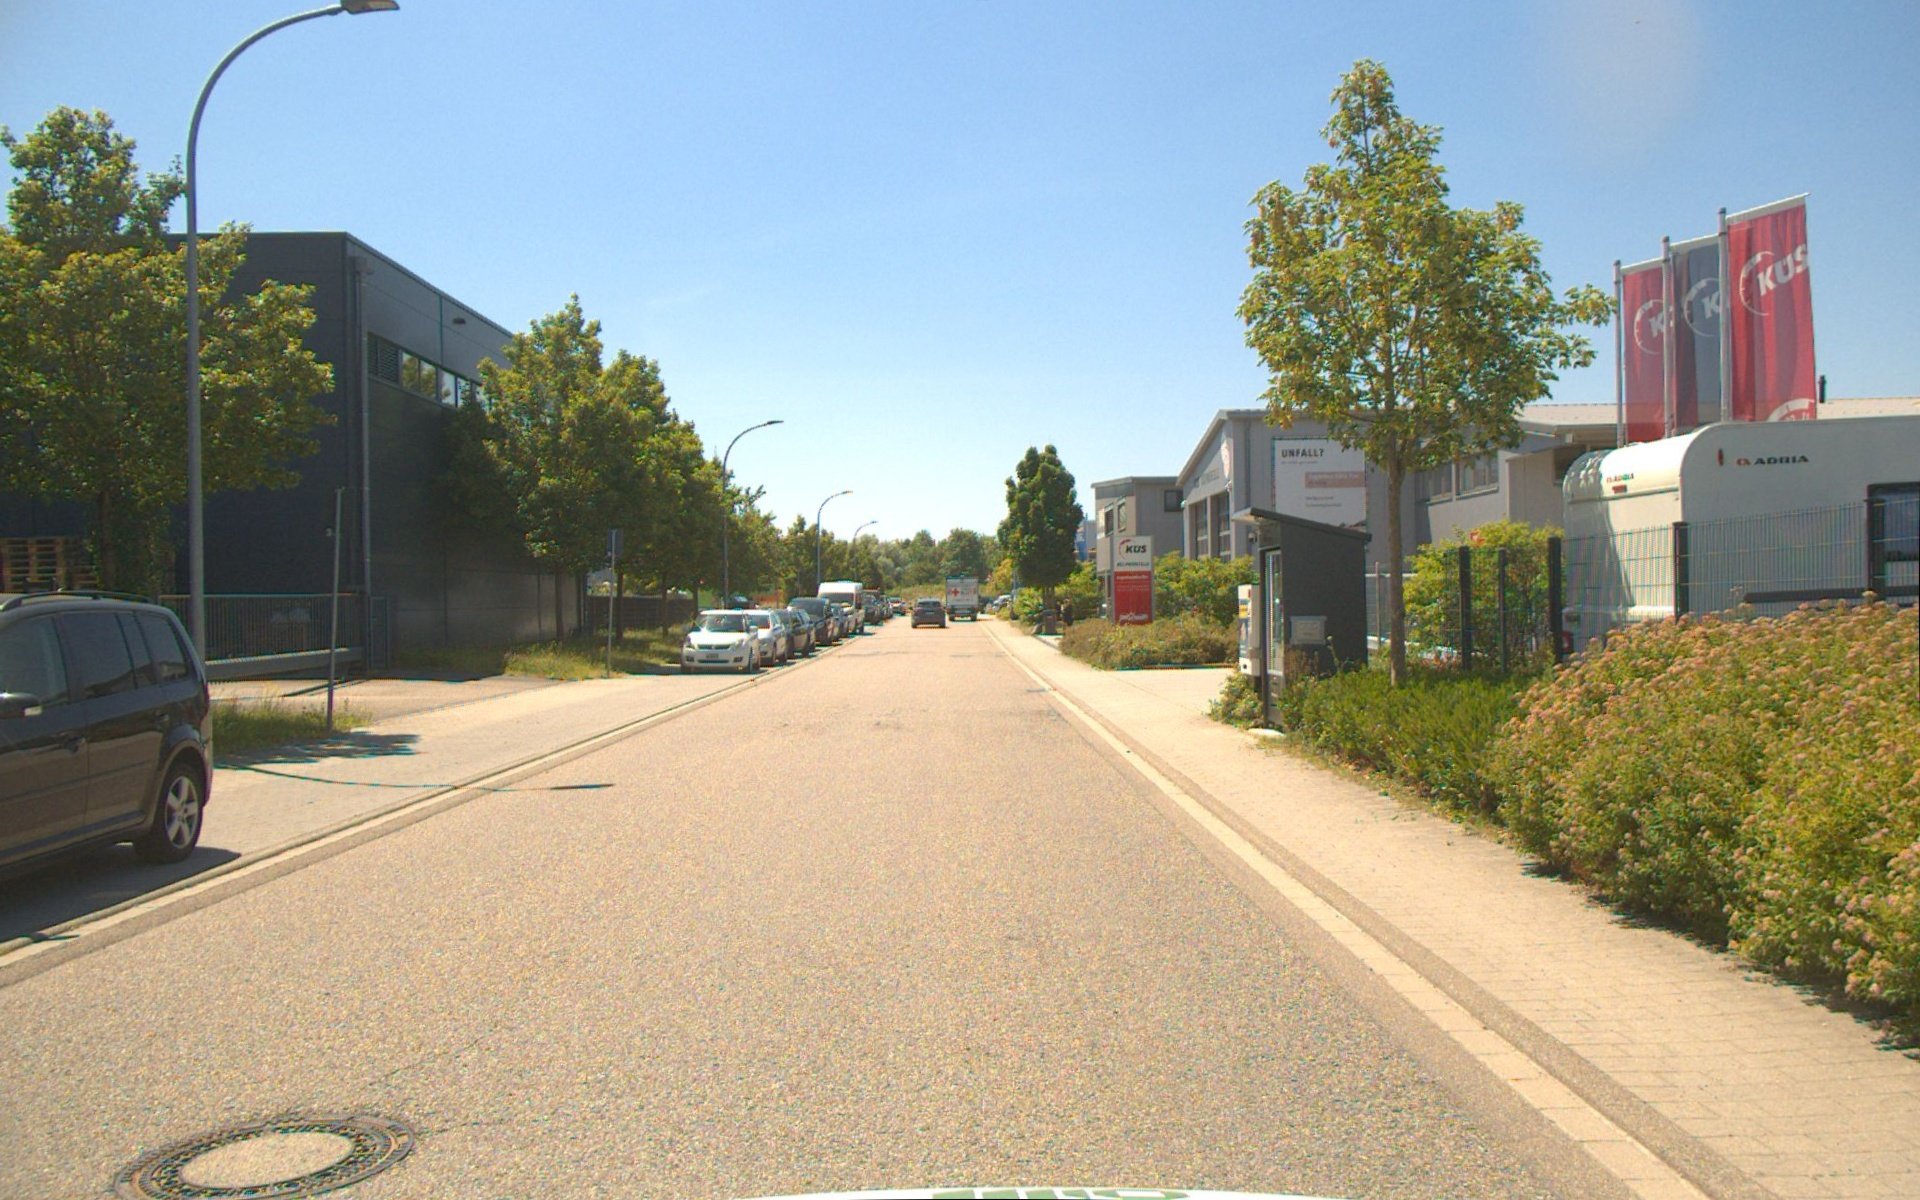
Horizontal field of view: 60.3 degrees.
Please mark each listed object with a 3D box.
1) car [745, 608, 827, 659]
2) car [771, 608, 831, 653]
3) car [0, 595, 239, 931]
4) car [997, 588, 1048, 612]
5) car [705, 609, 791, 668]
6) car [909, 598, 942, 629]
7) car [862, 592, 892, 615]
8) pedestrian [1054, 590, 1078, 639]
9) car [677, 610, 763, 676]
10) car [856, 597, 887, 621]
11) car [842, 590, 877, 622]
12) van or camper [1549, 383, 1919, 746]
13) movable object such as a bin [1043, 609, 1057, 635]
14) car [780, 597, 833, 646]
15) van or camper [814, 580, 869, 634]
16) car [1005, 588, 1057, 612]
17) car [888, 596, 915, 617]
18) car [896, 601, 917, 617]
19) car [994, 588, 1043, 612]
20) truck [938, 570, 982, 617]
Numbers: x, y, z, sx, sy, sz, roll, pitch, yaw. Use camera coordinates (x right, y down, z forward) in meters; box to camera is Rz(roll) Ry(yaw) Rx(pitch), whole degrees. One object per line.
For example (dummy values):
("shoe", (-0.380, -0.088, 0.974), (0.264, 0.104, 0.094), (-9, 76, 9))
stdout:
("car", (-5.489, 1.033, 52.704), (1.761, 1.502, 4.640), (0, 0, 5))
("car", (-5.626, 1.043, 58.883), (1.762, 1.502, 4.587), (0, 0, -1))
("car", (-5.570, 0.802, 8.755), (1.735, 1.640, 4.246), (0, 0, -2))
("car", (4.812, -0.009, 128.132), (3.798, 1.780, 1.751), (1, 0, -3))
("car", (-5.793, 1.022, 45.724), (1.762, 1.502, 4.554), (0, 0, 0))
("car", (-1.860, 0.739, 90.981), (1.753, 1.652, 3.808), (1, 0, -1))
("car", (-5.749, 0.246, 114.674), (1.762, 1.513, 4.253), (0, 1, 1))
("pedestrian", (3.677, 0.518, 57.538), (0.492, 1.641, 0.710), (-5, 0, -18))
("car", (-5.817, 1.011, 40.462), (1.686, 1.502, 3.855), (0, 0, -3))
("car", (-5.830, 0.562, 109.433), (1.762, 1.513, 4.253), (0, 1, 1))
("car", (-6.163, 0.346, 101.904), (1.762, 1.881, 4.253), (0, 1, 1))
("van or camper", (8.651, -0.334, 13.618), (6.620, 2.630, 2.635), (-2, 0, -1))
("movable object such as a bin", (3.787, 0.912, 69.740), (0.520, 1.071, 0.845), (-1, 0, 1))
("car", (-5.954, 0.808, 64.533), (1.762, 1.846, 4.251), (0, 0, -1))
("van or camper", (-5.806, 0.330, 81.595), (2.035, 2.526, 6.132), (1, 0, 2))
("car", (5.374, -0.003, 126.184), (3.798, 1.780, 1.751), (1, 0, -3))
("car", (-4.381, 0.506, 124.476), (1.762, 1.513, 4.253), (0, 1, 1))
("car", (-5.145, 0.855, 159.371), (1.762, 1.513, 4.253), (0, 1, 1))
("car", (4.628, -0.006, 131.039), (3.798, 1.780, 1.751), (1, 0, -3))
("truck", (0.006, -0.426, 113.128), (2.873, 3.026, 6.419), (1, 0, 0))
